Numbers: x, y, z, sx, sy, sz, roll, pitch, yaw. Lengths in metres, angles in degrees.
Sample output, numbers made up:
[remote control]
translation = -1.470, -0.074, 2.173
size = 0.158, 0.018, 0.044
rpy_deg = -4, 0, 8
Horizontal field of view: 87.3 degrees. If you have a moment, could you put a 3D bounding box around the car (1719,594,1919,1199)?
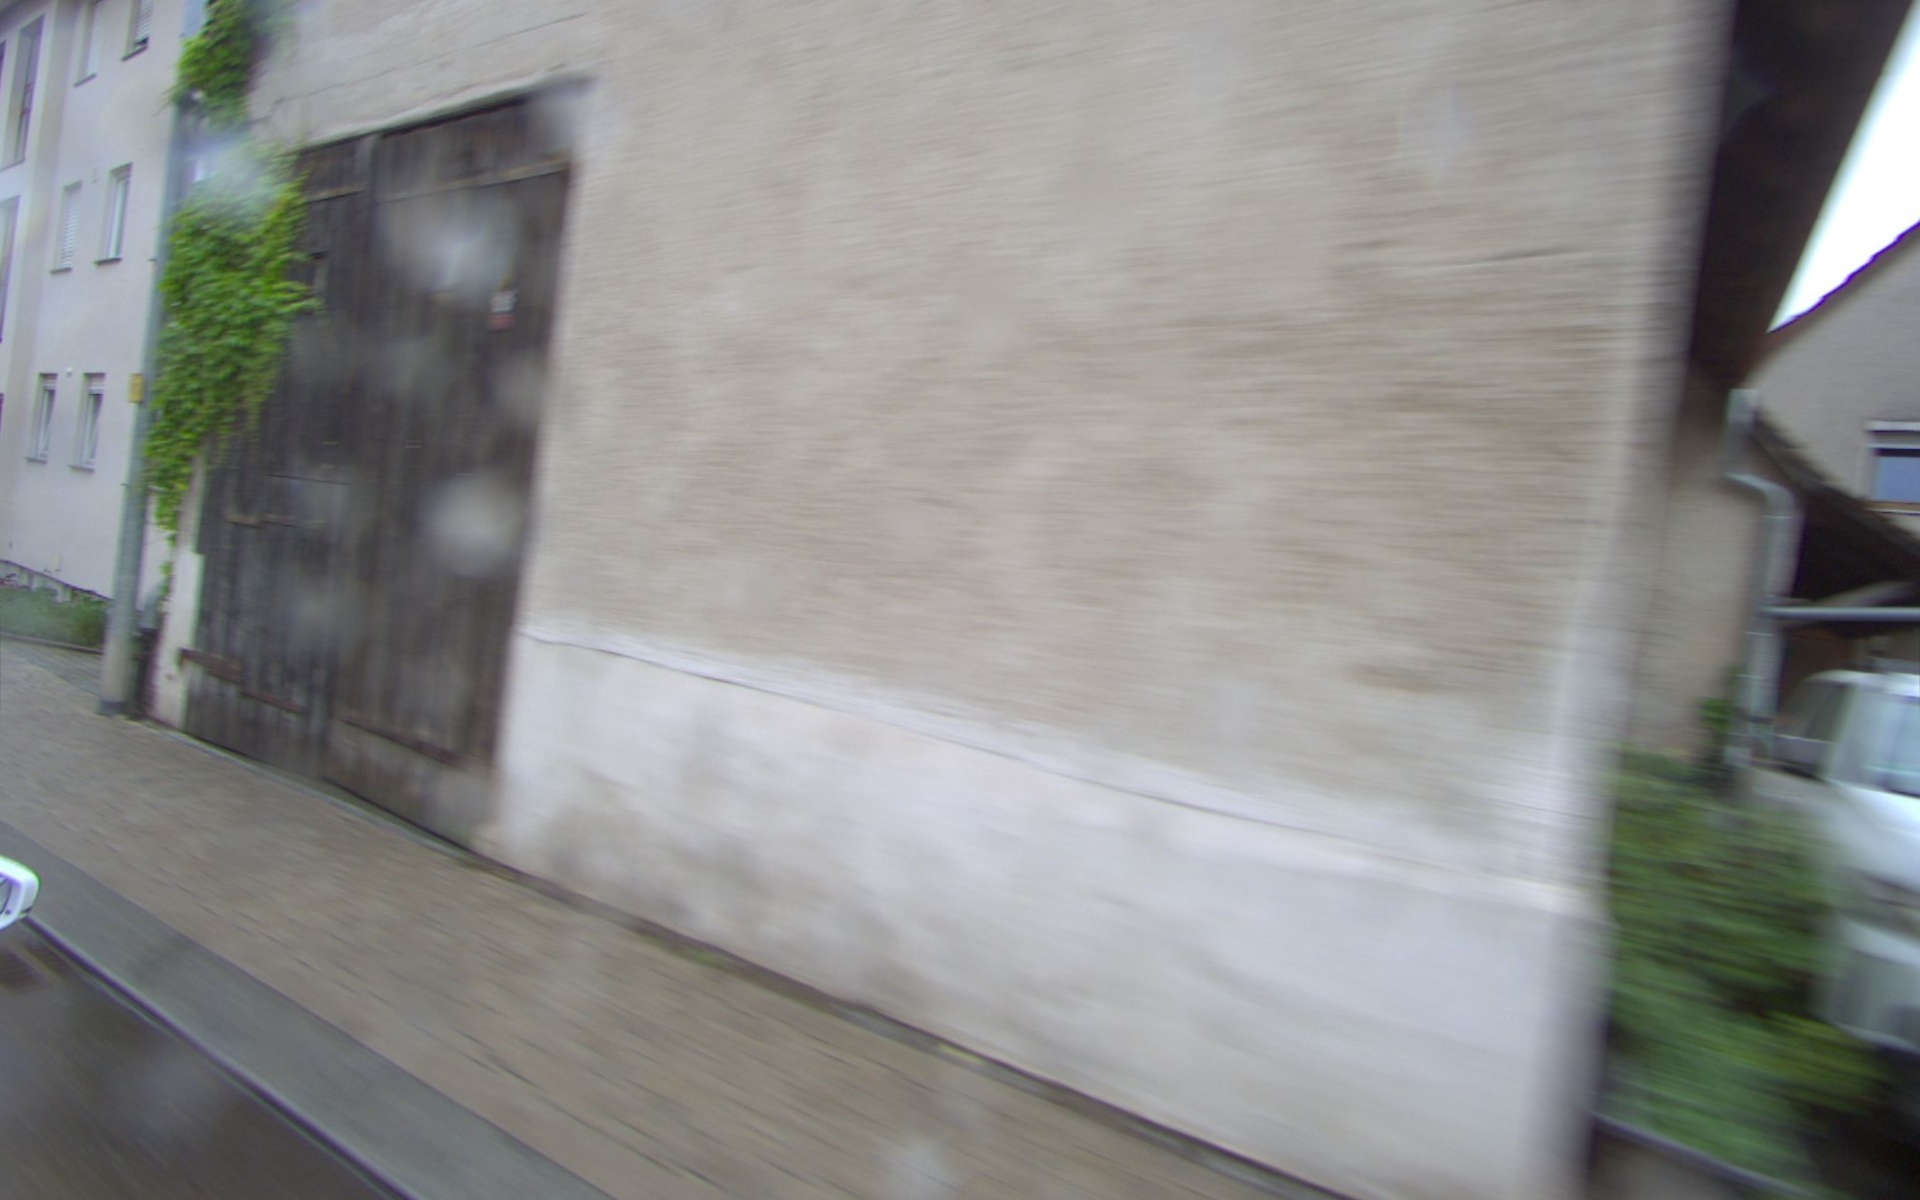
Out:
[car]
translation = 4.400, 1.020, 3.939
size = 1.872, 1.670, 4.218
rpy_deg = 7, 1, 34
